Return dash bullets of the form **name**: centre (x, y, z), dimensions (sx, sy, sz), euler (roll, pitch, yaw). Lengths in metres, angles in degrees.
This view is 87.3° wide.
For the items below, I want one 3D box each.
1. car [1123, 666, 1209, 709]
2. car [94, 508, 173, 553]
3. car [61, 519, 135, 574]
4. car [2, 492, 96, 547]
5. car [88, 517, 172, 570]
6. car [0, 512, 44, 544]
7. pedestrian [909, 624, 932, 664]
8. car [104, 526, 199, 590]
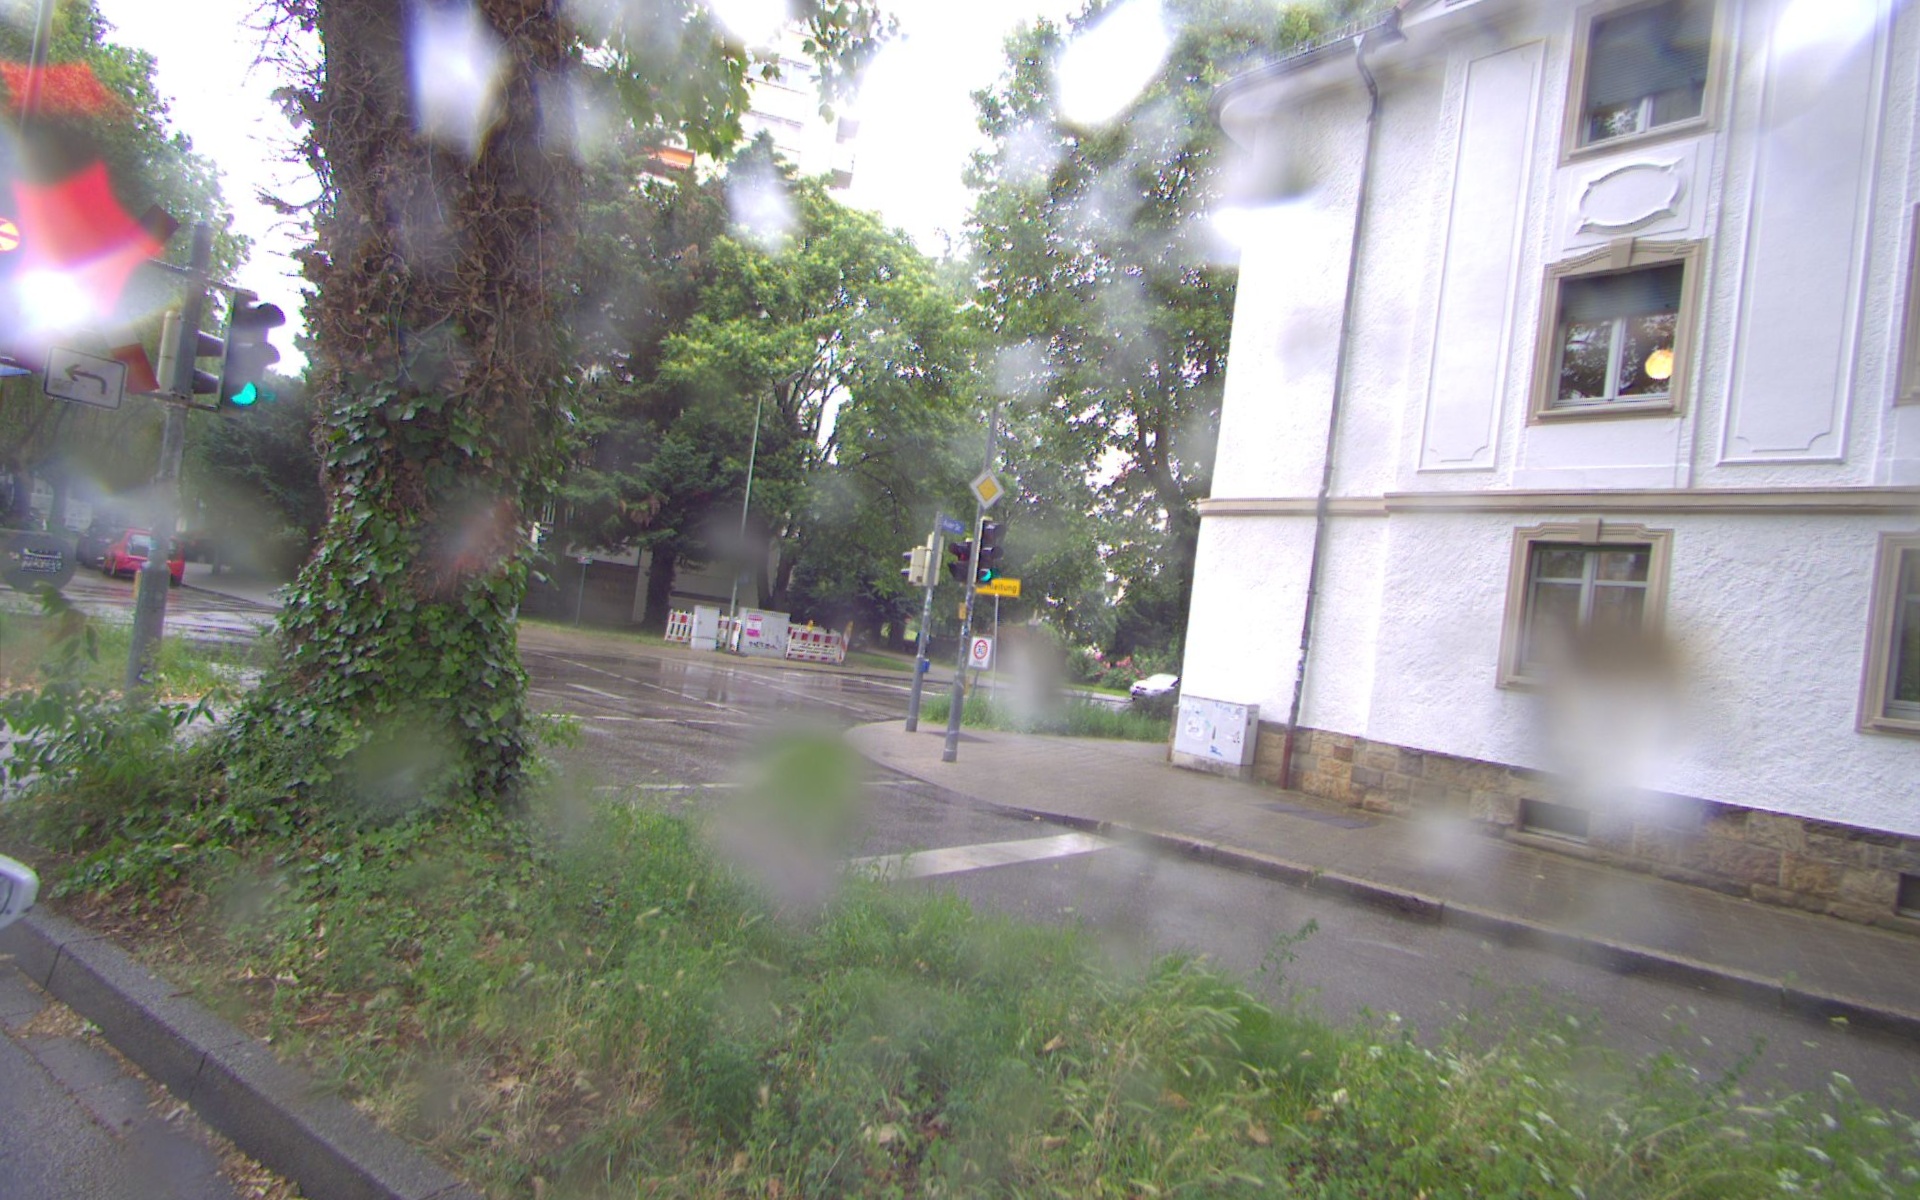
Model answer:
- **car**: centre (9.413, 4.003, 45.810), dimensions (1.829, 1.473, 3.979), euler (6, -3, 45)
- **car**: centre (-69.650, -5.842, 84.811), dimensions (4.683, 2.982, 2.001), euler (7, -1, 1)
- **car**: centre (-32.980, -2.078, 38.455), dimensions (1.779, 1.747, 3.951), euler (9, -2, -44)
- **car**: centre (-61.110, -5.392, 67.530), dimensions (4.680, 2.982, 2.043), euler (7, -1, 12)
- **car**: centre (-28.094, -1.937, 34.001), dimensions (1.780, 1.363, 3.879), euler (10, -2, -44)
- **car**: centre (-56.203, -4.377, 58.627), dimensions (1.974, 1.565, 3.980), euler (6, -3, 44)
- **pedestrian**: centre (-1.996, 2.216, 50.576), dimensions (0.675, 1.863, 0.707), euler (8, -1, -44)
- **car**: centre (-24.828, -1.309, 30.844), dimensions (1.788, 1.515, 3.950), euler (10, -2, -44)
